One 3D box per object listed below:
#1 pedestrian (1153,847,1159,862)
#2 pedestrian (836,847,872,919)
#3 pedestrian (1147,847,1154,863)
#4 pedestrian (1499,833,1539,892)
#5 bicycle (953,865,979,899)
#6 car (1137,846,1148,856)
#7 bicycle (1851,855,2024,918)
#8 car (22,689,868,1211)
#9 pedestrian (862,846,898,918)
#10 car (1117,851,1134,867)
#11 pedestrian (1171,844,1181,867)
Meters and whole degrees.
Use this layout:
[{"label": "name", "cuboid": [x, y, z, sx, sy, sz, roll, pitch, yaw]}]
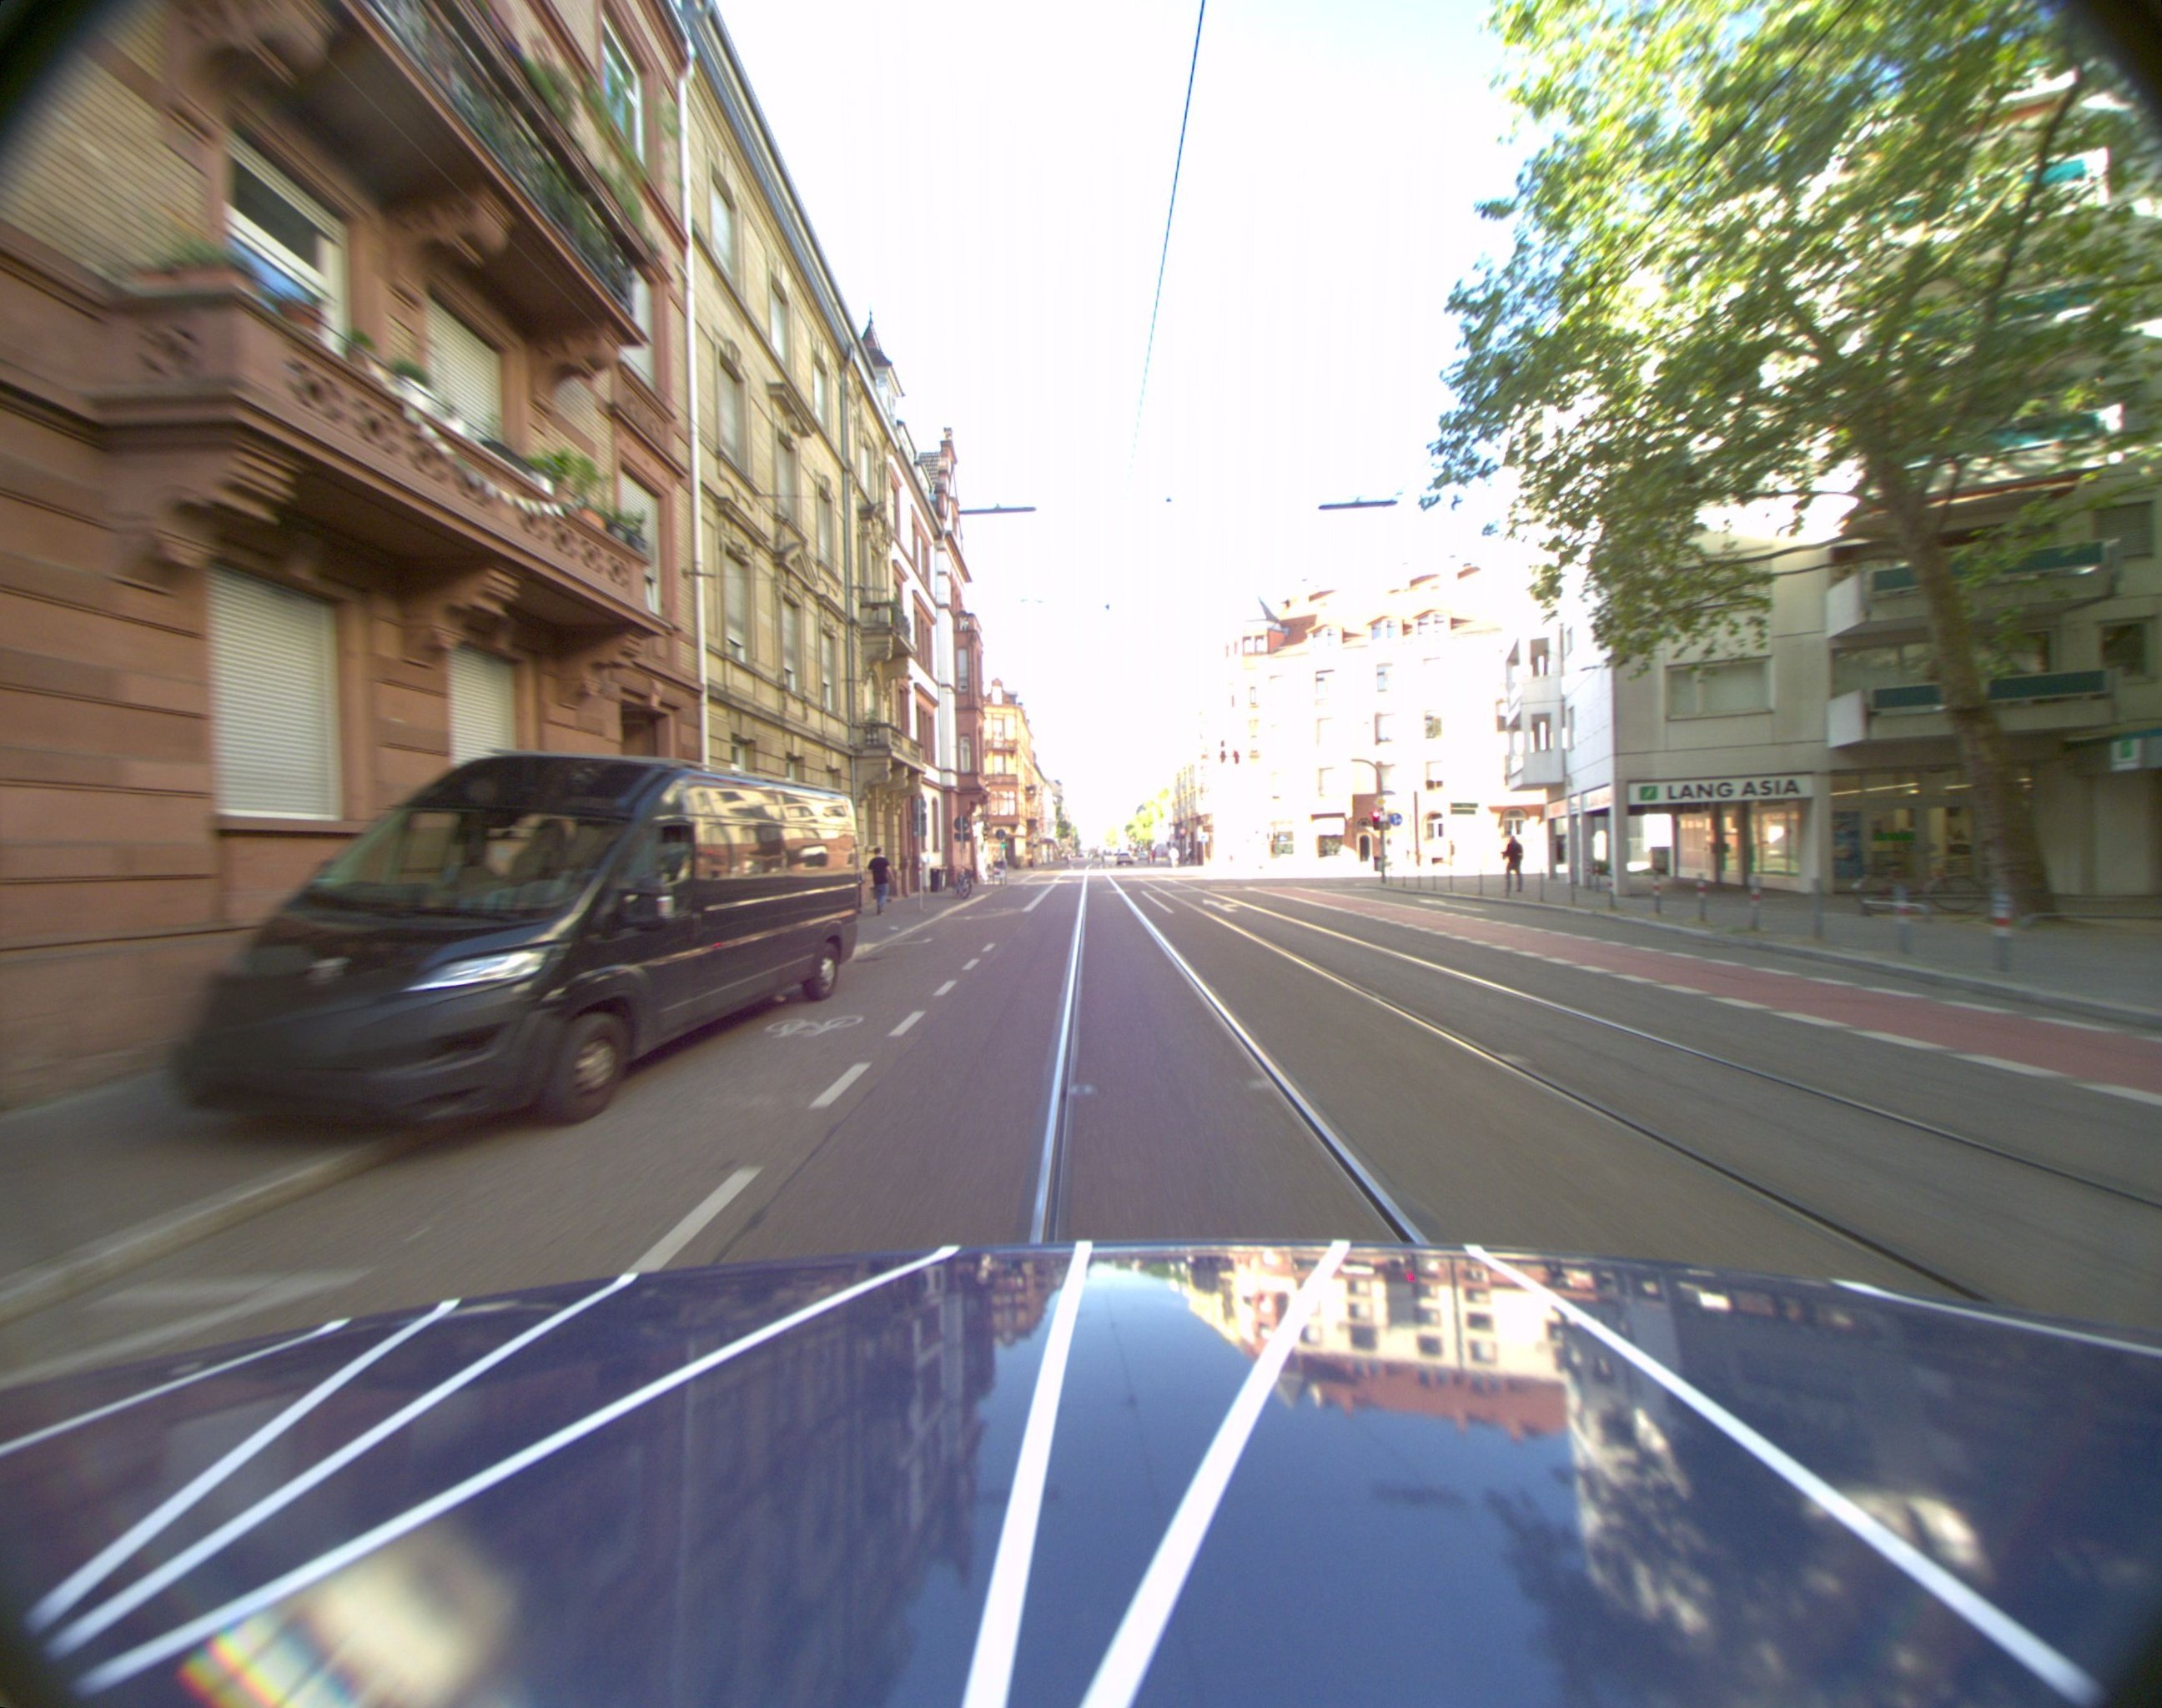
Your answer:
[{"label": "pedestrian", "cuboid": [10.157, 0.032, 102.898, 0.756, 2.002, 0.718, -2, 1, 0]}, {"label": "pedestrian", "cuboid": [-5.910, 0.736, 19.815, 0.635, 1.813, 0.755, -2, 1, 0]}, {"label": "pedestrian", "cuboid": [9.030, 0.132, 99.020, 0.756, 2.002, 0.718, -2, 1, 0]}, {"label": "pedestrian", "cuboid": [14.043, 0.264, 24.382, 0.795, 1.837, 0.809, -2, 1, 4]}, {"label": "bicycle", "cuboid": [-4.145, 1.006, 27.459, 0.647, 1.143, 1.688, -1, 1, 1]}, {"label": "car", "cuboid": [11.275, -0.515, 138.941, 1.719, 1.696, 4.000, -1, 0, 1]}, {"label": "bicycle", "cuboid": [16.171, 0.617, 14.421, 2.042, 1.119, 0.707, -2, 1, 28]}, {"label": "car", "cuboid": [-3.924, 0.448, 6.624, 2.128, 2.478, 5.856, -2, 1, 3]}, {"label": "pedestrian", "cuboid": [-5.205, 0.707, 19.730, 0.635, 1.813, 0.755, -2, 1, 0]}, {"label": "car", "cuboid": [5.865, 0.587, 99.970, 1.998, 2.002, 4.000, -1, 1, 1]}, {"label": "pedestrian", "cuboid": [8.503, 0.107, 68.289, 0.756, 2.002, 0.718, -2, 1, 0]}]
